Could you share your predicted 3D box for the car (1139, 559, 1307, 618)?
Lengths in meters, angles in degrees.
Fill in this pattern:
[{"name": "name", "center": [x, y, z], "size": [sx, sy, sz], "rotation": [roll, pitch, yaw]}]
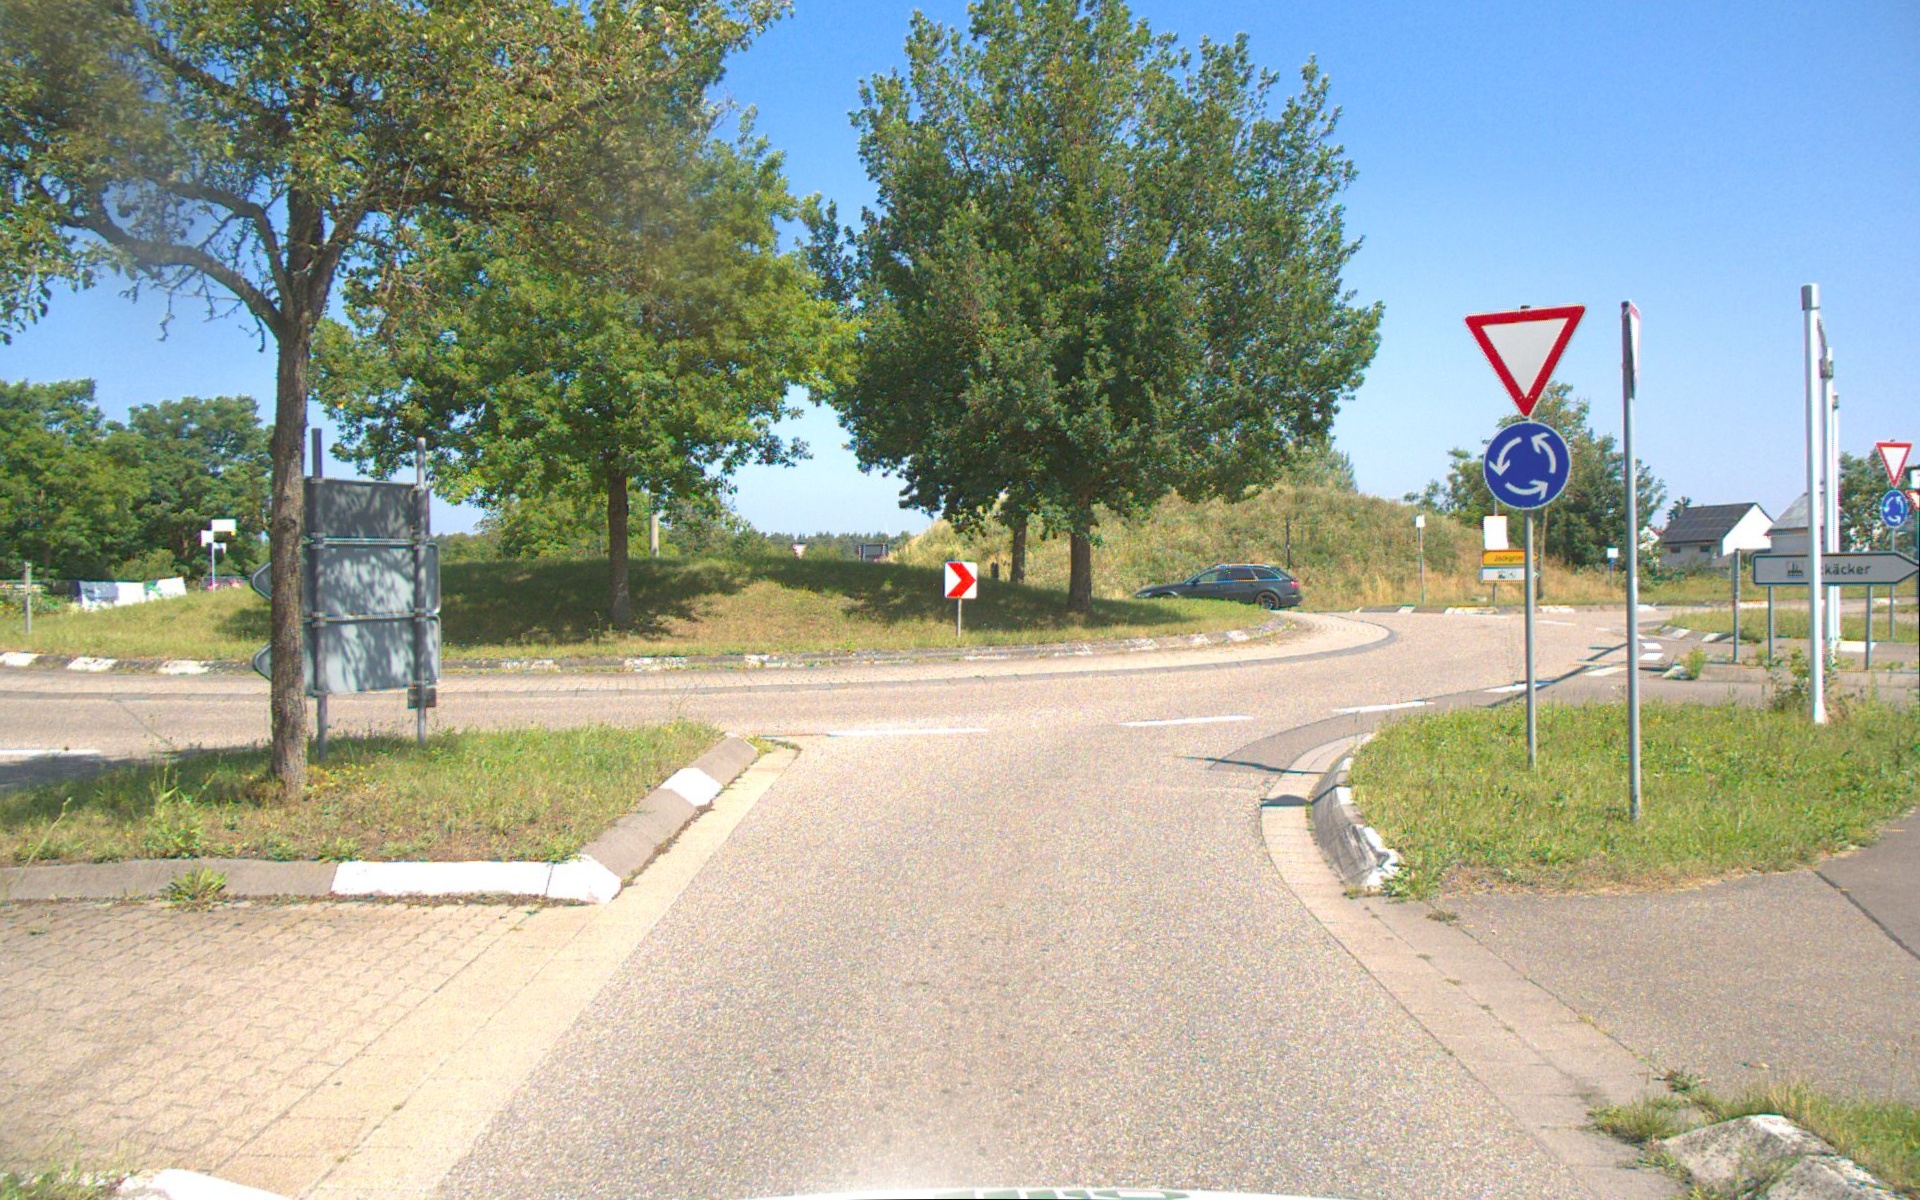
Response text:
[{"name": "car", "center": [7.504, -0.349, 47.524], "size": [4.658, 1.620, 2.002], "rotation": [0, 1, 6]}]
